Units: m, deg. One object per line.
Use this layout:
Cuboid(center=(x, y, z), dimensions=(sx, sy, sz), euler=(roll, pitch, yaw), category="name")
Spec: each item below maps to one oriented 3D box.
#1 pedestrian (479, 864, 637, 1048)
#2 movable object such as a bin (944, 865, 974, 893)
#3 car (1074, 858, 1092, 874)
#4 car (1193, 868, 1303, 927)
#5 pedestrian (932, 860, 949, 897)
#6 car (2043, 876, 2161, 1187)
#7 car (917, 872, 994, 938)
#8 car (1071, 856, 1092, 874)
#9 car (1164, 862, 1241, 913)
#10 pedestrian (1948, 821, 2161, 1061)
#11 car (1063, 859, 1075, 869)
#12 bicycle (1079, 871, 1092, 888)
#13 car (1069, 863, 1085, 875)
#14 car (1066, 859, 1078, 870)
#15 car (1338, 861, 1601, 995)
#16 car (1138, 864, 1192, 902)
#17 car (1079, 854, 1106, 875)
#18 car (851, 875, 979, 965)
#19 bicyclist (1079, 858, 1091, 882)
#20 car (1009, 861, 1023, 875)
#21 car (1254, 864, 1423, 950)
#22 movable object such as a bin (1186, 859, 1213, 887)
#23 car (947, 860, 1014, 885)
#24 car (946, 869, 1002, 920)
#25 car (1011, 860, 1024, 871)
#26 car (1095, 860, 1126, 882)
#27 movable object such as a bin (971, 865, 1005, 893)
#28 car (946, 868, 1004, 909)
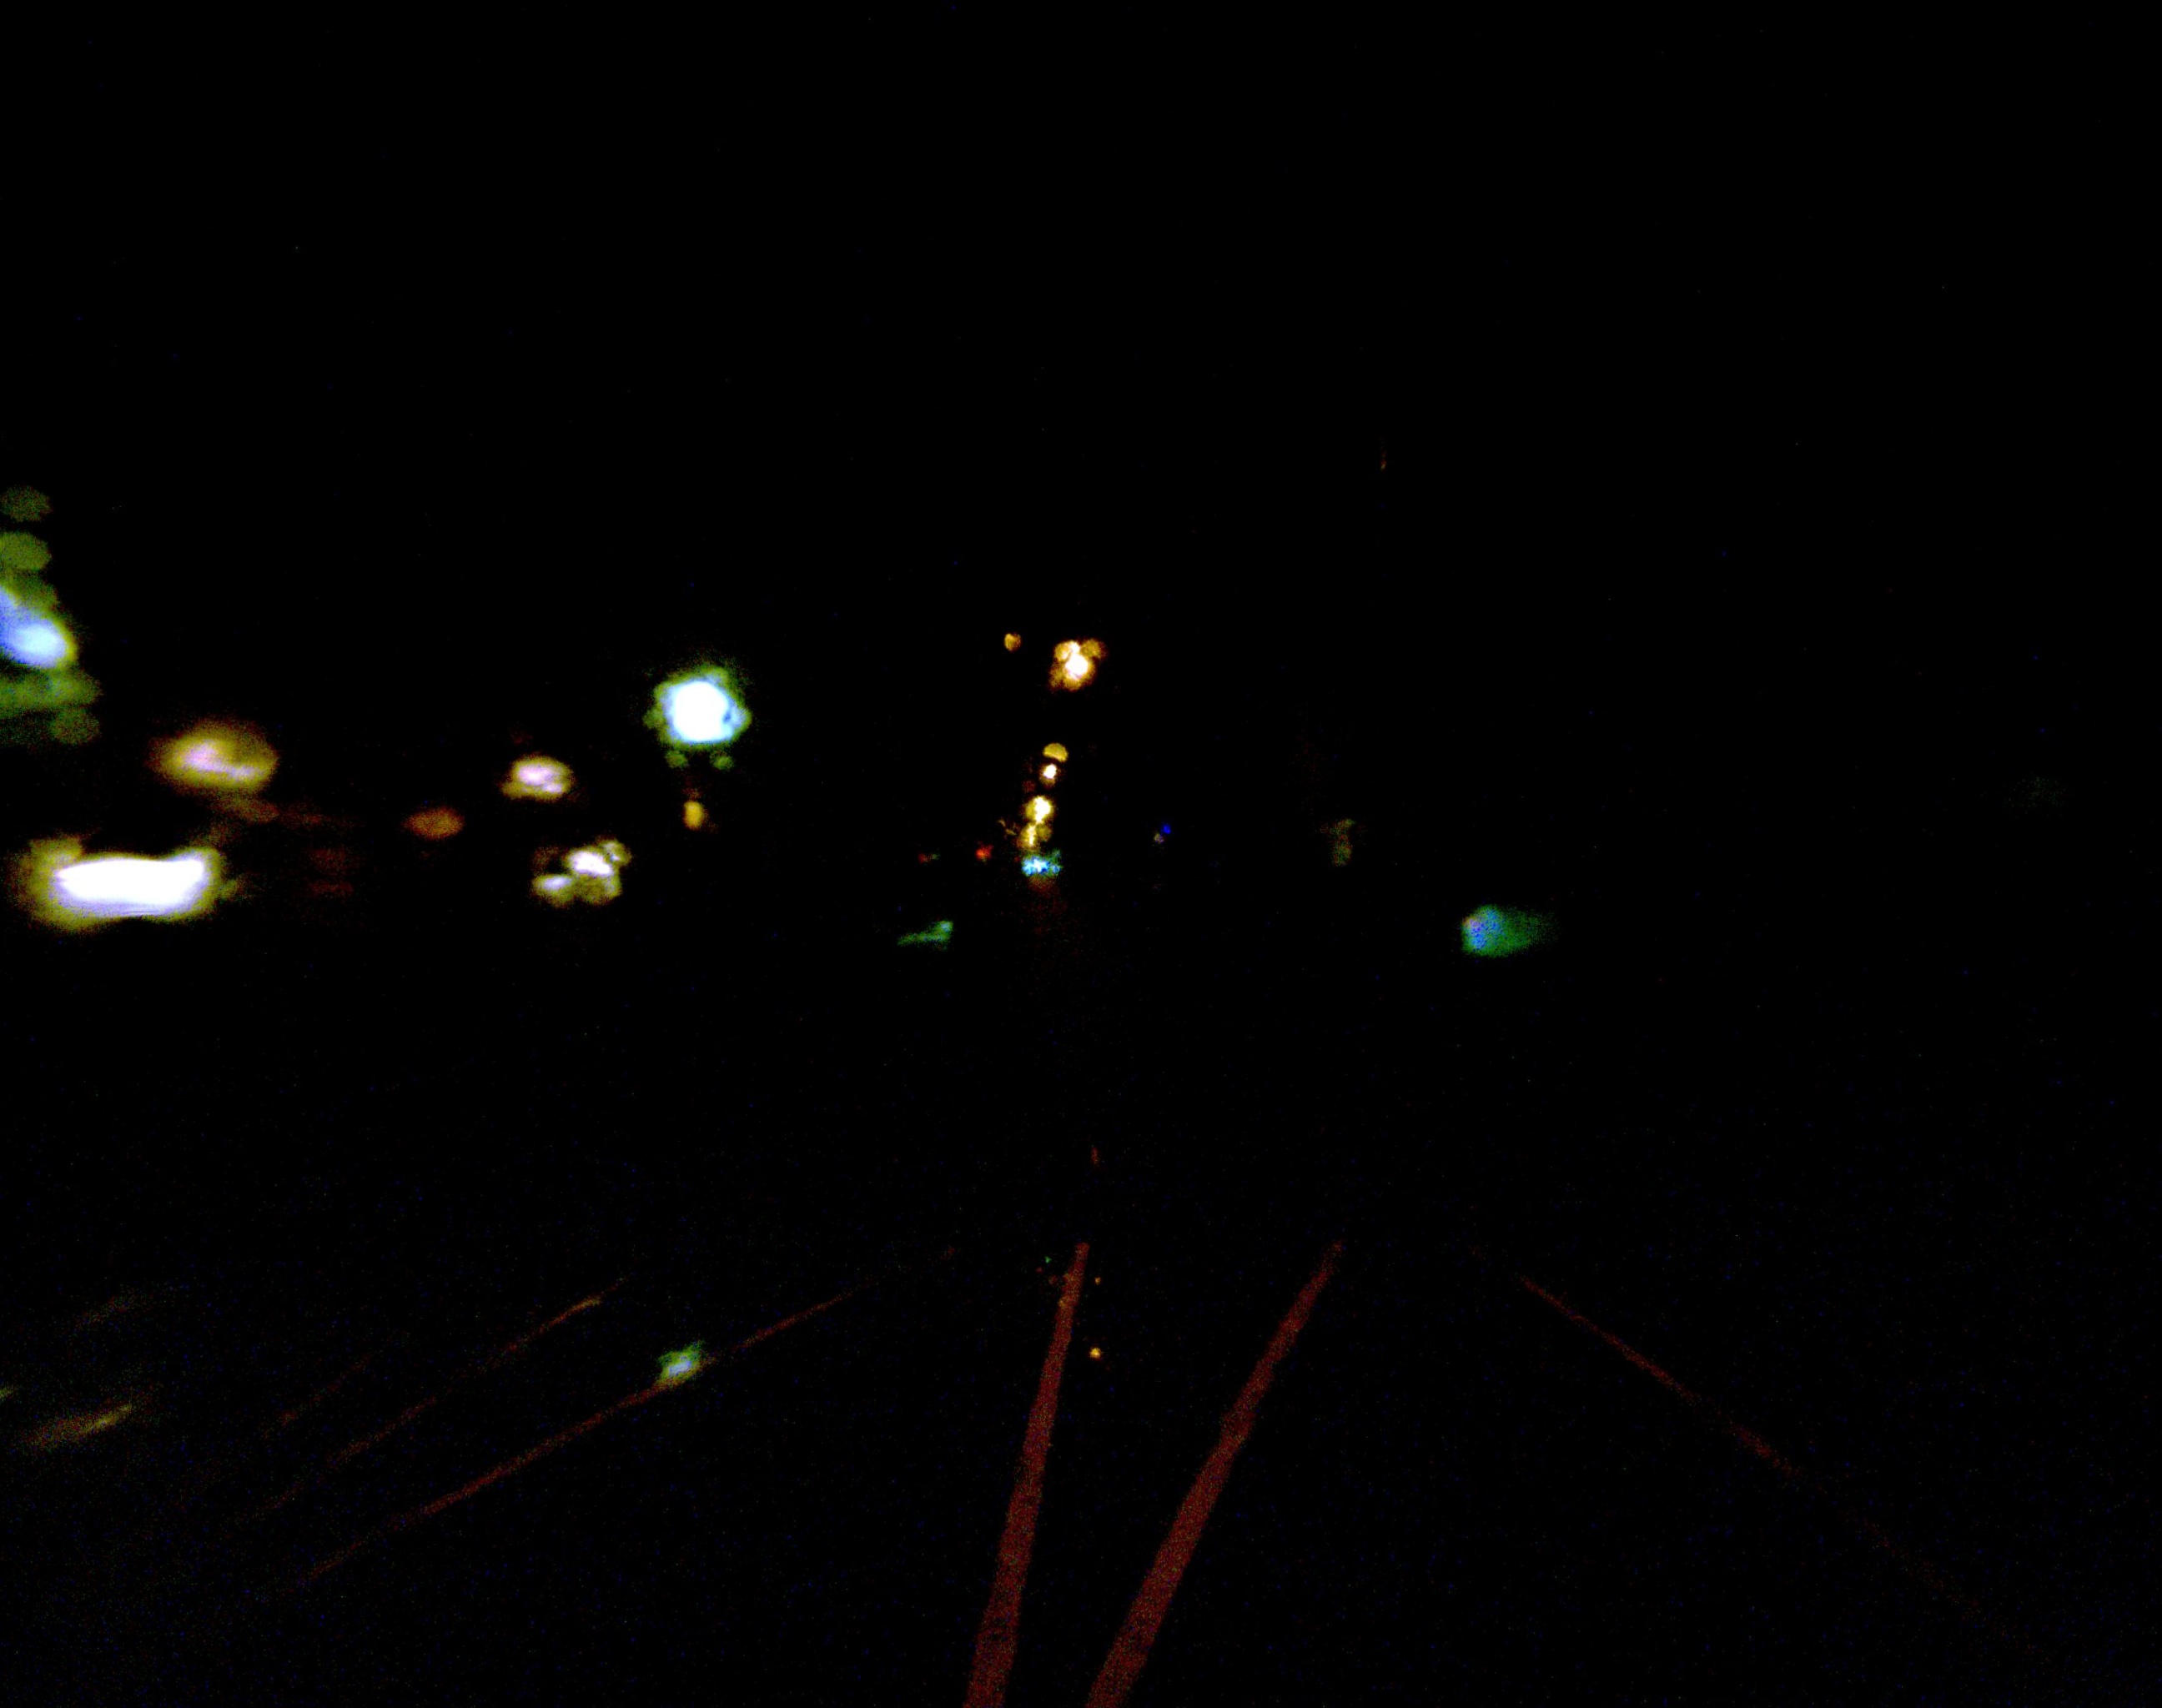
Cuboid(center=(-5.417, 1.007, 7.953), dimensions=(0.864, 1.777, 1.083), euler=(1, -1, -1), category="pedestrian")
Cuboid(center=(-6.433, 1.318, 40.210), dimensions=(1.312, 1.421, 1.050), euler=(-1, 0, 6), category="movable object such as a bin")
Cuboid(center=(0.161, 1.182, 75.449), dimensions=(1.573, 1.451, 3.719), euler=(-1, 0, -3), category="car")
Cuboid(center=(4.516, 1.140, 21.294), dimensions=(1.827, 1.381, 4.424), euler=(-1, 0, -4), category="car")
Cuboid(center=(-6.736, 1.163, 36.491), dimensions=(0.704, 1.777, 0.624), euler=(1, -1, -1), category="pedestrian")
Cuboid(center=(6.242, 0.841, 1.851), dimensions=(1.838, 1.477, 4.593), euler=(-1, 0, -4), category="car")
Cuboid(center=(-3.244, 1.276, 20.292), dimensions=(1.694, 1.489, 3.890), euler=(-1, 0, -5), category="car")
Cuboid(center=(0.035, 1.212, 83.189), dimensions=(1.908, 1.818, 4.827), euler=(-1, 0, -3), category="car")
Cuboid(center=(4.184, 1.112, 26.765), dimensions=(1.779, 1.563, 4.133), euler=(-1, 0, -4), category="car")
Cuboid(center=(8.129, 0.656, 6.275), dimensions=(0.745, 1.794, 0.986), euler=(-3, 1, 0), category="pedestrian")
Cuboid(center=(-1.929, 1.546, 117.731), dimensions=(1.697, 1.470, 3.963), euler=(-1, -1, -2), category="car")
Cuboid(center=(0.282, 1.687, 50.887), dimensions=(0.729, 1.066, 2.347), euler=(0, 0, -4), category="bicycle")
Cuboid(center=(-0.500, 1.917, 95.454), dimensions=(1.732, 1.384, 4.553), euler=(-1, 0, -3), category="car")
Cuboid(center=(-1.291, 1.495, 107.541), dimensions=(1.532, 1.445, 3.383), euler=(-1, 0, -3), category="car")
Cuboid(center=(5.434, 0.918, 11.230), dimensions=(1.750, 1.579, 3.764), euler=(-1, 0, -4), category="car")
Cuboid(center=(3.667, 1.250, 33.669), dimensions=(1.677, 1.482, 3.720), euler=(-2, 0, -4), category="car")
Cuboid(center=(0.988, 0.922, 68.226), dimensions=(2.001, 1.818, 5.205), euler=(-1, 0, -3), category="car")
Cuboid(center=(-3.070, 1.175, 14.866), dimensions=(1.923, 1.403, 3.998), euler=(-1, 0, -5), category="car")
Cuboid(center=(0.240, 1.059, 50.793), dimensions=(0.720, 1.547, 0.895), euler=(0, 0, -4), category="bicyclist")
Cuboid(center=(-8.551, 1.852, 100.076), dimensions=(1.677, 1.712, 3.855), euler=(0, 0, -3), category="car")
Cuboid(center=(5.175, 0.992, 15.967), dimensions=(1.838, 1.472, 4.305), euler=(-1, 0, -4), category="car")
Cuboid(center=(6.371, 1.009, 40.860), dimensions=(1.104, 1.445, 1.378), euler=(0, 0, -6), category="movable object such as a bin")
Cuboid(center=(-7.003, 1.287, 53.246), dimensions=(4.525, 1.521, 1.779), euler=(2, 0, -4), category="car")
Cuboid(center=(-3.552, 1.271, 25.291), dimensions=(1.695, 1.489, 3.888), euler=(-1, 0, -8), category="car")
Cuboid(center=(-9.280, 1.674, 111.710), dimensions=(1.846, 1.498, 4.161), euler=(0, 0, -3), category="car")
Cuboid(center=(2.177, 1.237, 56.647), dimensions=(1.772, 1.474, 4.771), euler=(-4, 0, -3), category="car")
Cuboid(center=(-5.028, 1.330, 40.918), dimensions=(1.344, 1.421, 1.198), euler=(-1, 0, -40), category="movable object such as a bin")
Cuboid(center=(-4.203, 1.335, 30.695), dimensions=(1.999, 1.455, 4.415), euler=(-1, 0, -4), category="car")
